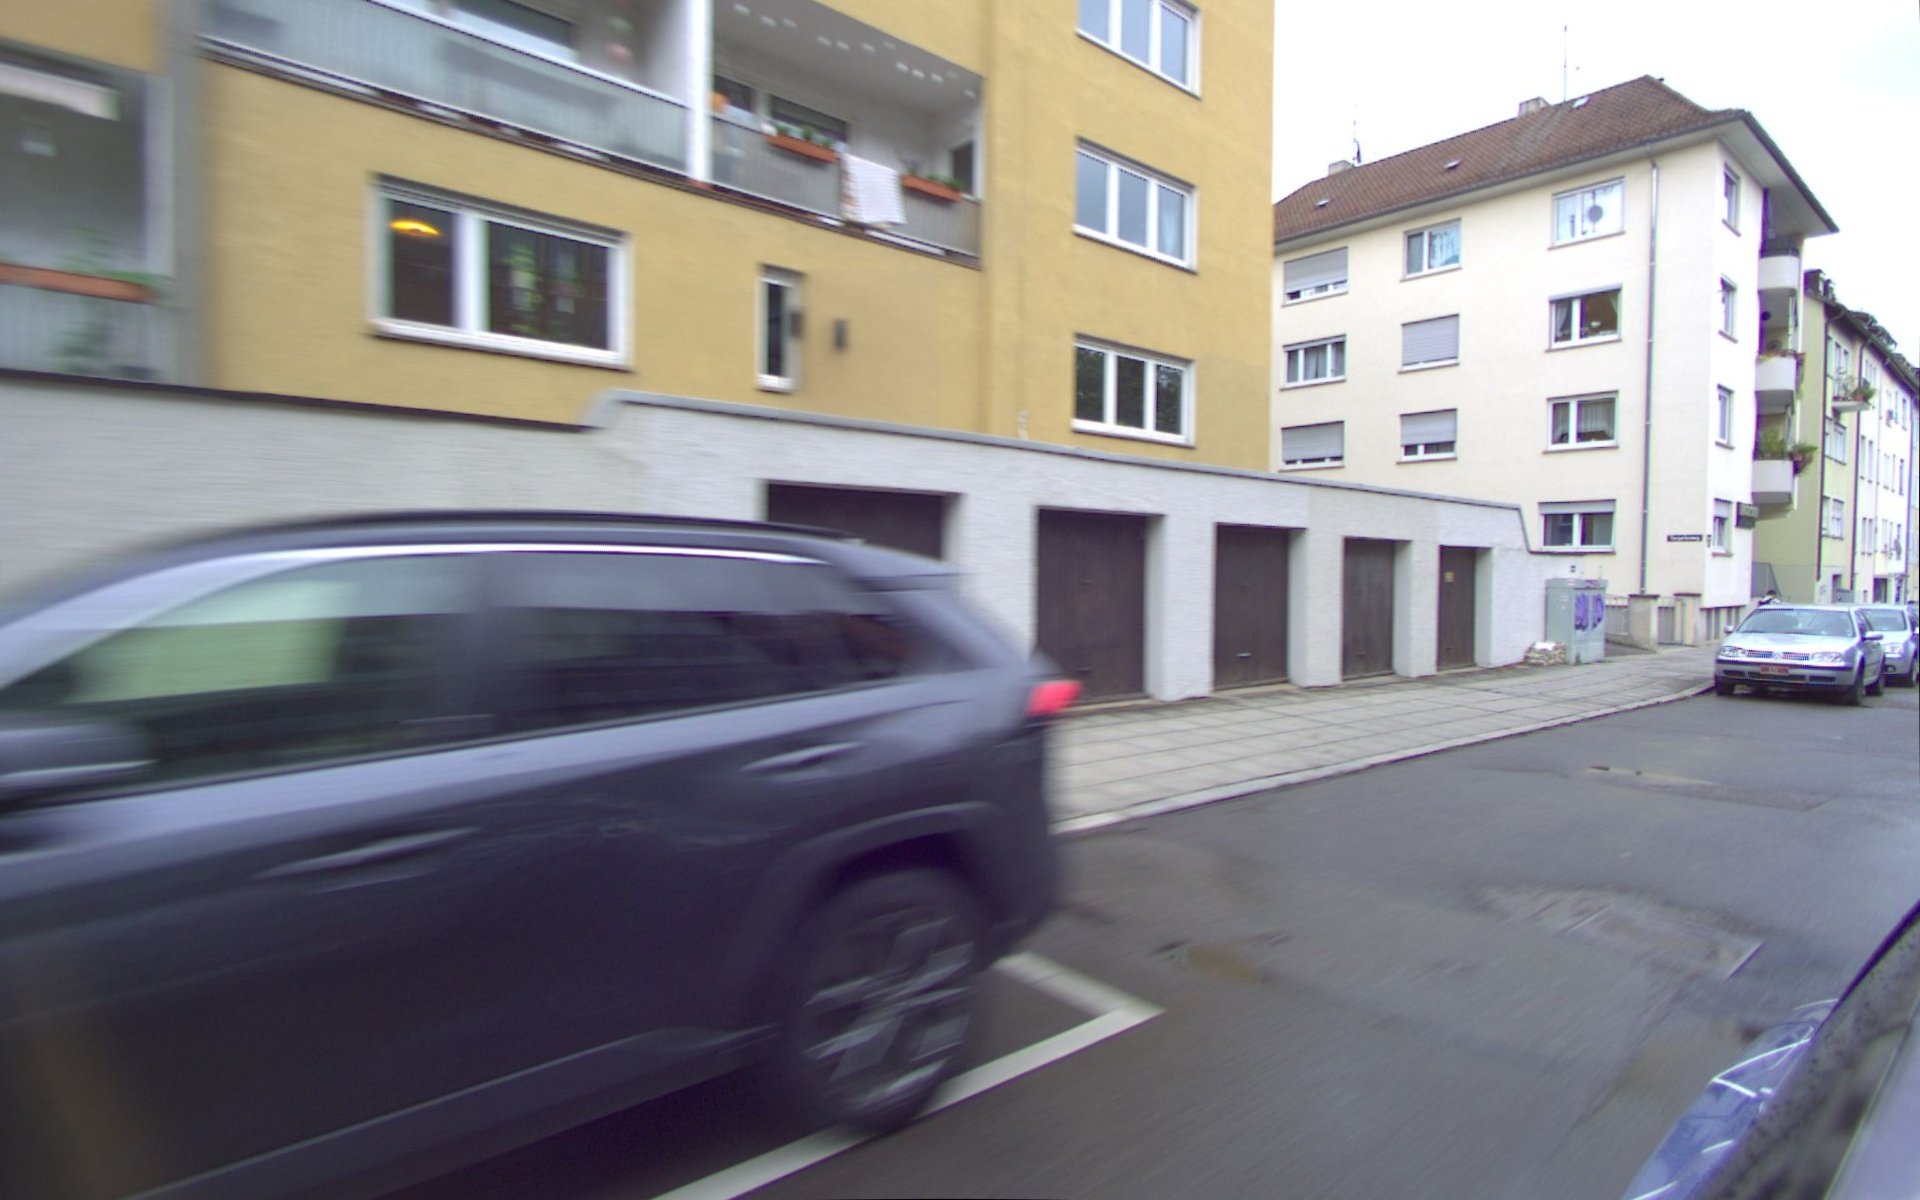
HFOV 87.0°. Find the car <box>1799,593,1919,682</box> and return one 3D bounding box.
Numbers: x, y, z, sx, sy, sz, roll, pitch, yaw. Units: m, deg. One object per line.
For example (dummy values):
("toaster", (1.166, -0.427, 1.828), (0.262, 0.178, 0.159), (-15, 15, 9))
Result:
("car", (17.358, 0.635, 19.099), (3.902, 1.395, 1.739), (-2, 2, -41))

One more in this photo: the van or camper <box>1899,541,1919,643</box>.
("van or camper", (32.383, -0.325, 32.245), (6.907, 3.095, 2.753), (-2, 2, -40))

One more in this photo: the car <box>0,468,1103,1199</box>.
("car", (-1.823, 0.609, 2.413), (4.497, 1.667, 1.804), (-2, 2, -41))

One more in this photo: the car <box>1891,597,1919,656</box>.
("car", (26.520, 0.700, 27.268), (3.444, 1.449, 1.739), (-1, 2, -41))

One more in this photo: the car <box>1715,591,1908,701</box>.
("car", (13.289, 0.612, 15.734), (3.772, 1.395, 1.739), (-2, 2, -41))

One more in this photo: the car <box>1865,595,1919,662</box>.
("car", (23.079, 0.653, 24.189), (3.444, 1.449, 1.739), (-1, 2, -41))
